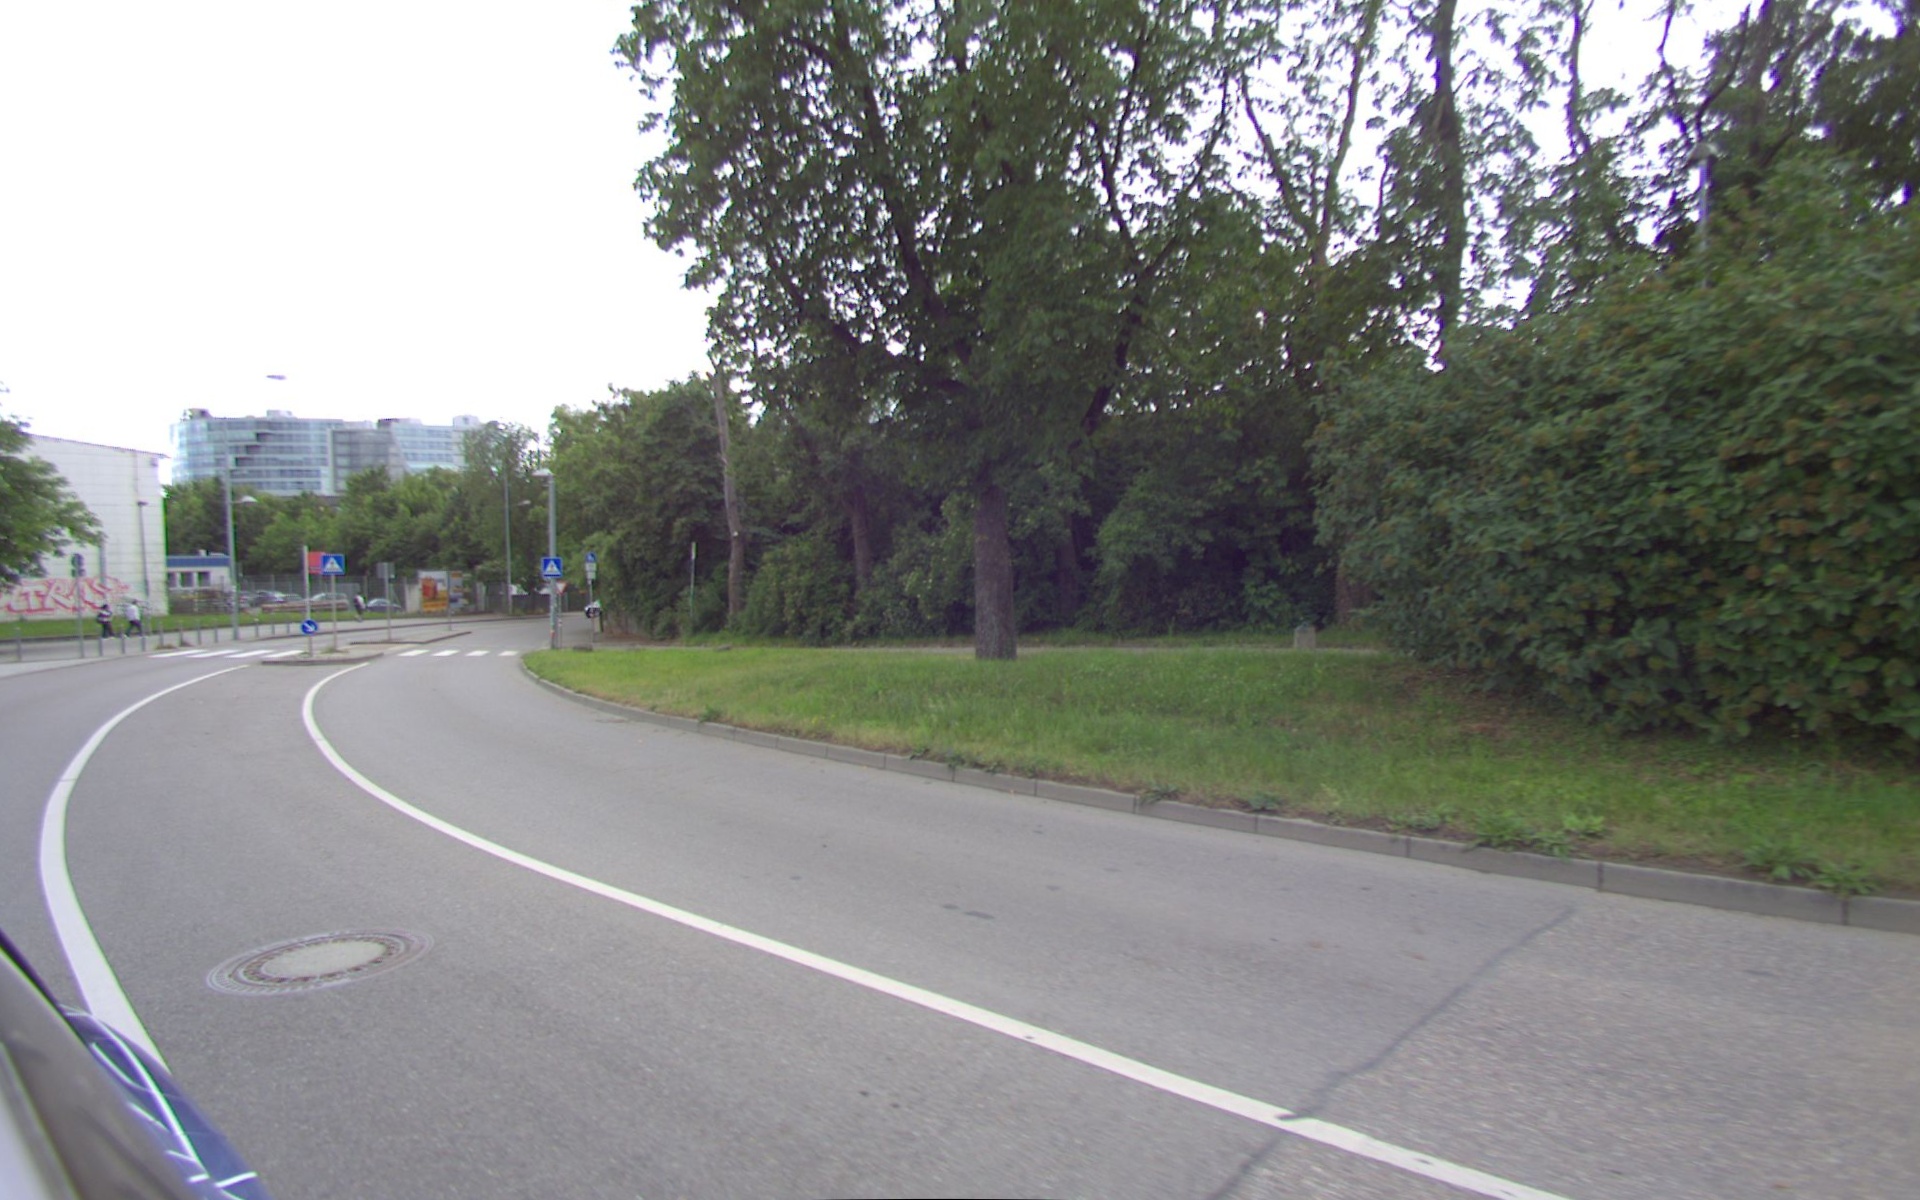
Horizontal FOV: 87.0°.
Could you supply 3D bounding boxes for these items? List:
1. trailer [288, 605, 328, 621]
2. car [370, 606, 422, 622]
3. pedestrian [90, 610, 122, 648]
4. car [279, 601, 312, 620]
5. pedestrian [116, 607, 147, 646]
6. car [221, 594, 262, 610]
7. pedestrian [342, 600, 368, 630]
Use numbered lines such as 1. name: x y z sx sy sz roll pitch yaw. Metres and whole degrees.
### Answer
1. trailer: -49.362 1.003 76.649 2.636 1.146 1.825 0 0 39
2. car: -45.555 1.137 81.770 1.468 1.261 3.331 1 -1 34
3. pedestrian: -38.070 1.283 45.134 0.797 1.595 0.795 0 2 24
4. car: -51.466 0.810 78.415 2.851 1.451 1.353 0 -1 40
5. pedestrian: -37.033 1.181 45.259 0.812 1.715 0.743 0 2 24
6. car: -62.543 0.182 88.122 3.669 1.341 1.515 0 -1 30
7. pedestrian: -34.821 0.860 58.247 0.844 1.696 0.934 1 2 20
